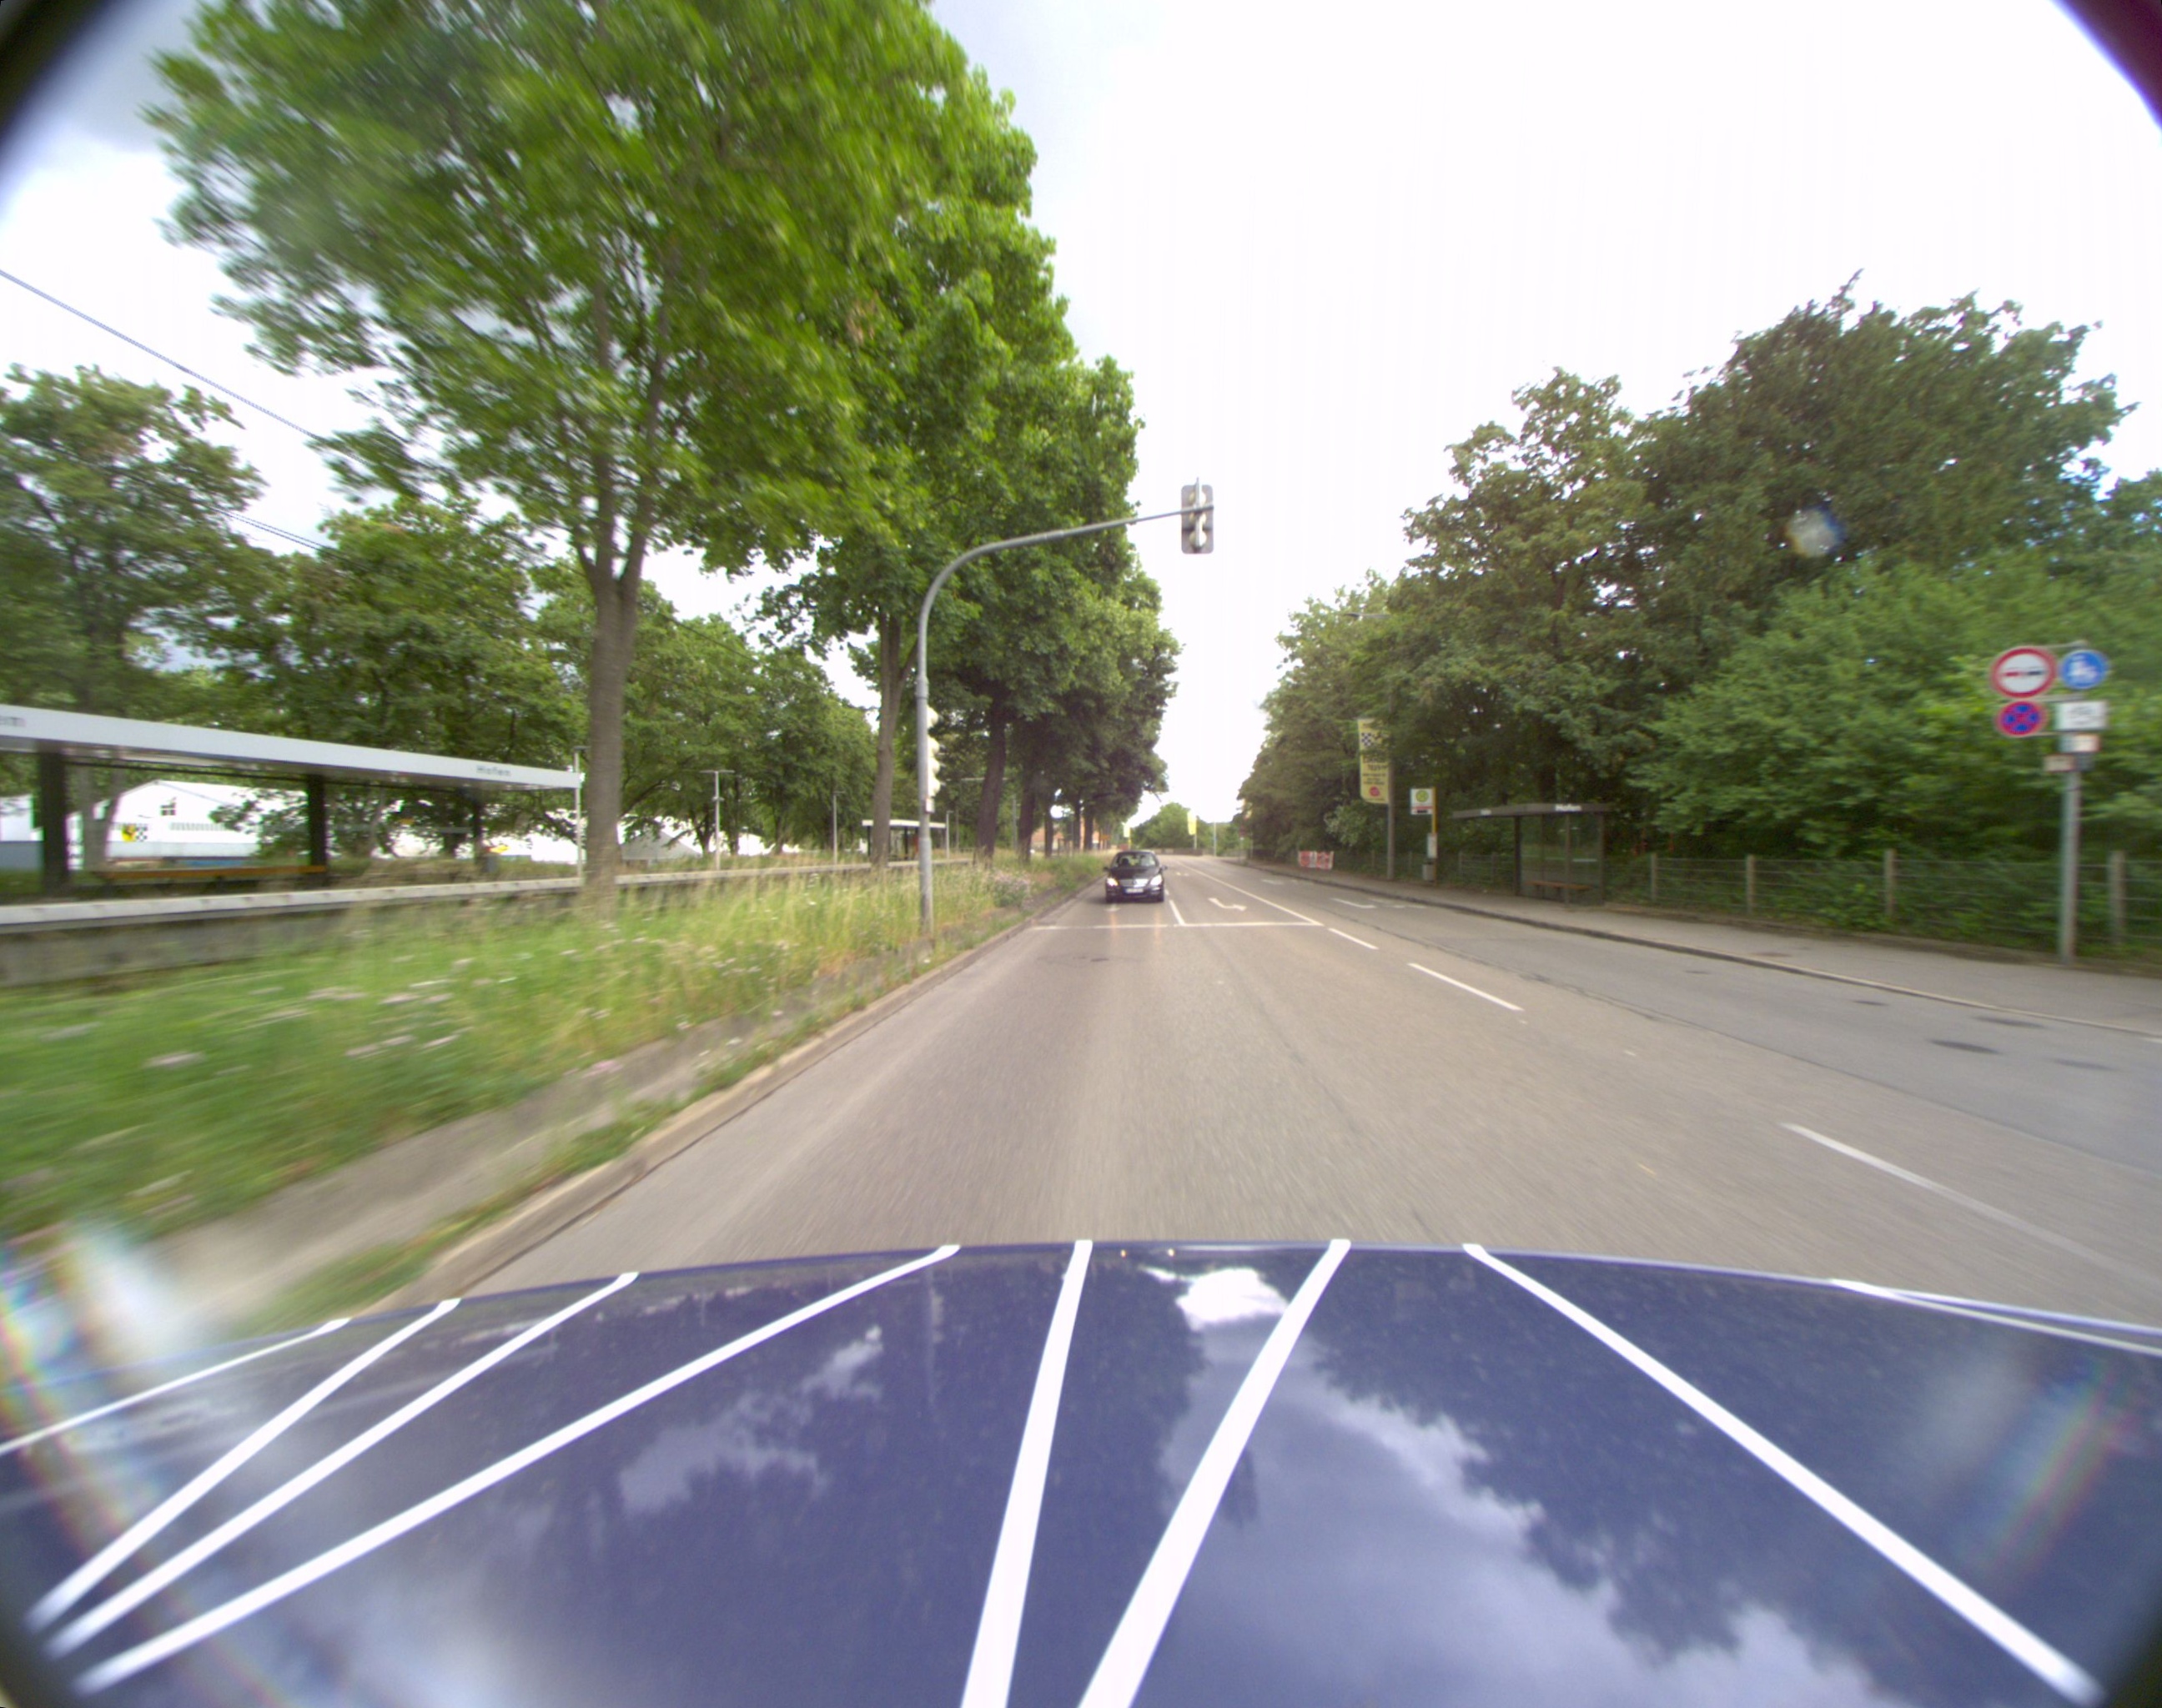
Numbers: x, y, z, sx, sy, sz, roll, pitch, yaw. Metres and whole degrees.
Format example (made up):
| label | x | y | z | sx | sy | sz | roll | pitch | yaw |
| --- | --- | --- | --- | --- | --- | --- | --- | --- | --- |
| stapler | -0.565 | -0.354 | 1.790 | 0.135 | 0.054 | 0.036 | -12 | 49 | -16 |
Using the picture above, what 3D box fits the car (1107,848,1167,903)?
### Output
| label | x | y | z | sx | sy | sz | roll | pitch | yaw |
| --- | --- | --- | --- | --- | --- | --- | --- | --- | --- |
| car | 1.834 | 0.607 | 24.226 | 1.750 | 1.556 | 4.076 | 0 | 1 | 6 |
